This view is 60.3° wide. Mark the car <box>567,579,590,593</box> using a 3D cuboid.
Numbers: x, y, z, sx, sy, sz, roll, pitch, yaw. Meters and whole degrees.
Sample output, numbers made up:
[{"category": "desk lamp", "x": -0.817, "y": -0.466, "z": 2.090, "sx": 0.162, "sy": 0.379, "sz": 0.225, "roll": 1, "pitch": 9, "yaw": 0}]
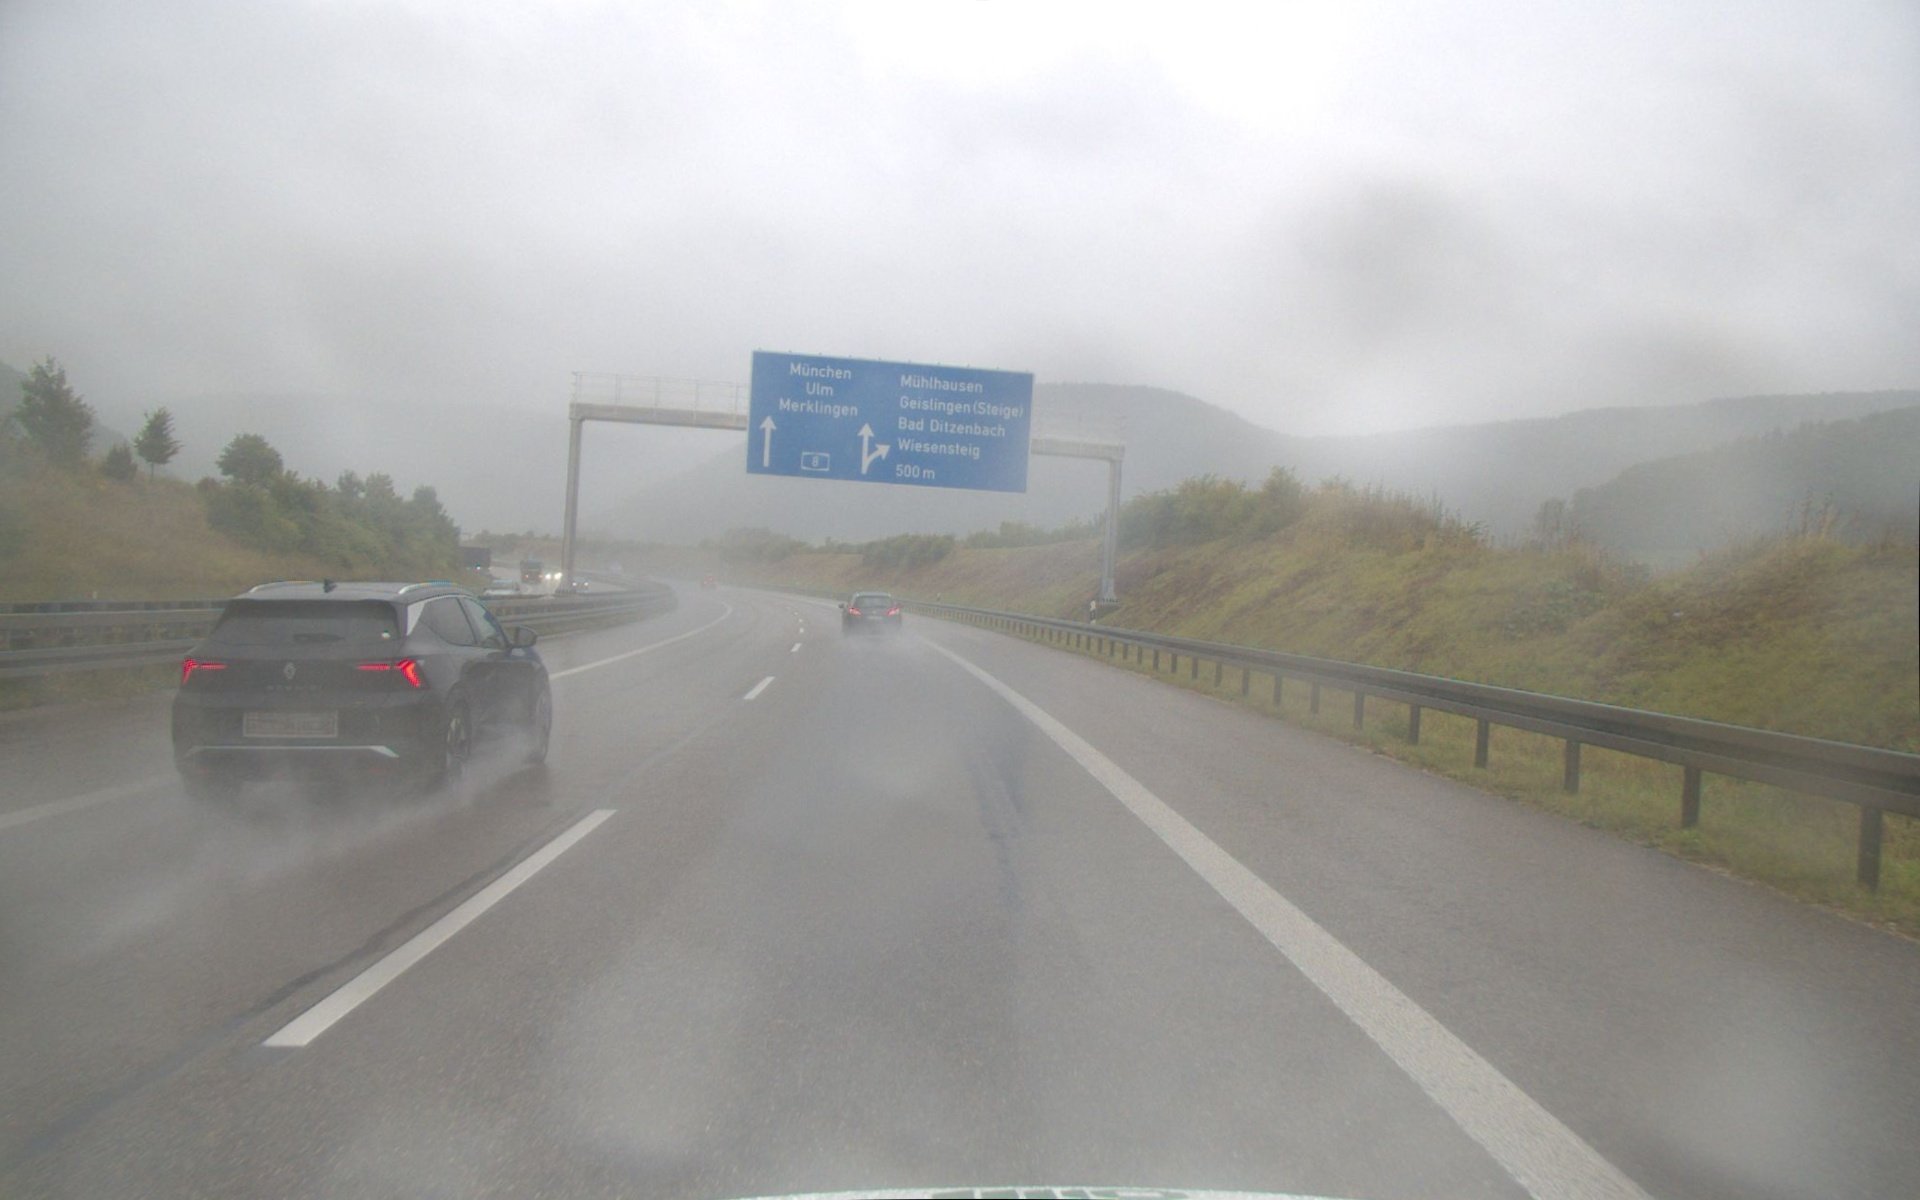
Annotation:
[{"category": "car", "x": -44.630, "y": -1.614, "z": 193.551, "sx": 1.955, "sy": 1.545, "sz": 3.996, "roll": 3, "pitch": 0, "yaw": -5}]

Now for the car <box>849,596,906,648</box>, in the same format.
[{"category": "car", "x": -2.542, "y": 0.650, "z": 51.081, "sx": 1.646, "sy": 1.498, "sz": 3.812, "roll": 2, "pitch": 0, "yaw": -3}]

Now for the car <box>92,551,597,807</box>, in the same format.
[{"category": "car", "x": -4.389, "y": 0.502, "z": 12.813, "sx": 2.359, "sy": 1.542, "sz": 4.780, "roll": 2, "pitch": 0, "yaw": -4}]

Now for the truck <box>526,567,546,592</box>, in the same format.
[{"category": "truck", "x": -62.206, "y": -3.040, "z": 242.630, "sx": 2.669, "sy": 3.604, "sz": 5.293, "roll": 1, "pitch": 1, "yaw": -13}]
